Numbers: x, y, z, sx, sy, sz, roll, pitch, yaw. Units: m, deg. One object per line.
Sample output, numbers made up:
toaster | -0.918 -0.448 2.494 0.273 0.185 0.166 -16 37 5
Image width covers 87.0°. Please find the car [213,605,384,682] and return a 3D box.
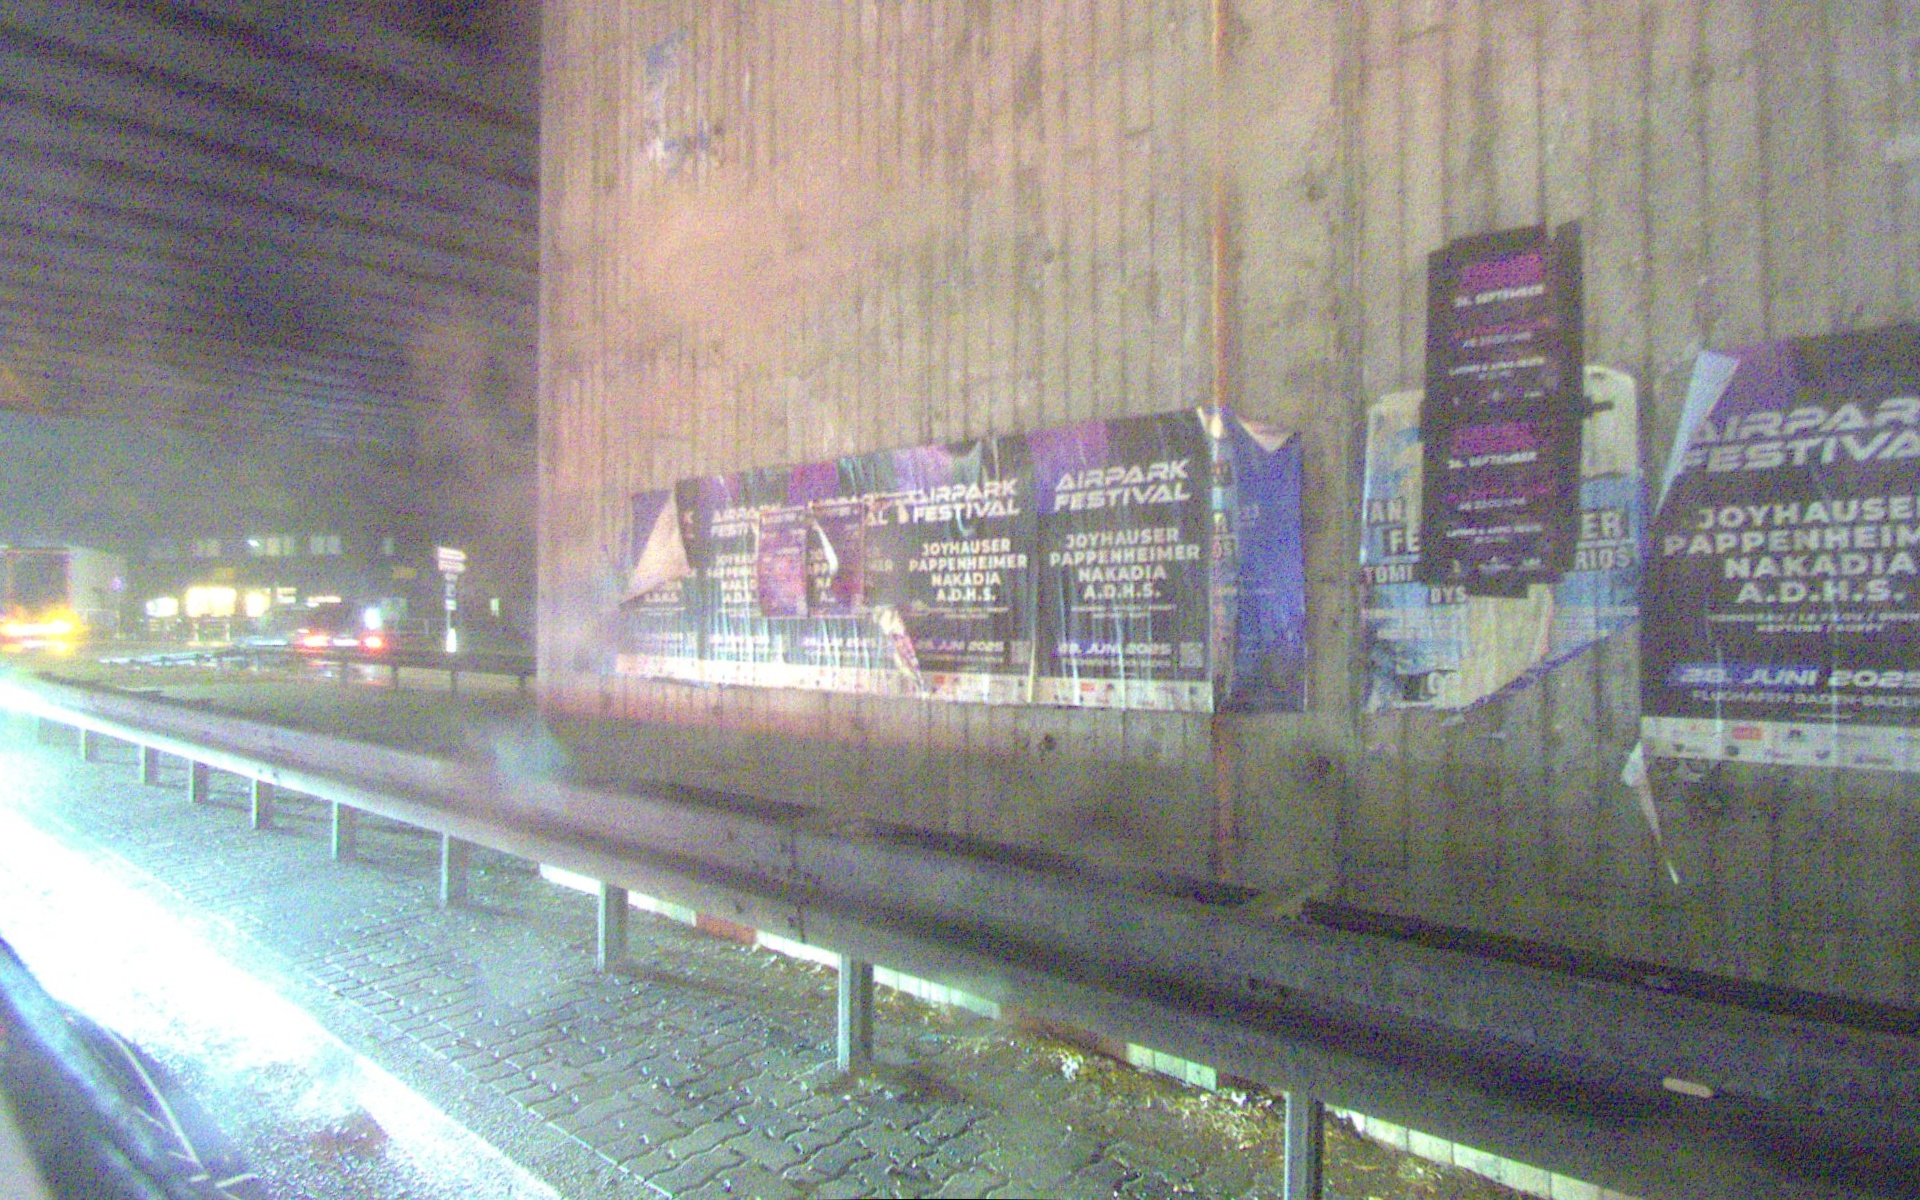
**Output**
car | -16.765 1.024 25.585 4.907 1.754 1.948 -1 0 35

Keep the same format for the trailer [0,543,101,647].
trailer | -45.201 -0.130 44.016 13.761 4.208 3.959 -1 0 9

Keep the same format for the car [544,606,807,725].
car | -4.866 1.001 17.105 4.386 1.754 1.888 -1 0 34
